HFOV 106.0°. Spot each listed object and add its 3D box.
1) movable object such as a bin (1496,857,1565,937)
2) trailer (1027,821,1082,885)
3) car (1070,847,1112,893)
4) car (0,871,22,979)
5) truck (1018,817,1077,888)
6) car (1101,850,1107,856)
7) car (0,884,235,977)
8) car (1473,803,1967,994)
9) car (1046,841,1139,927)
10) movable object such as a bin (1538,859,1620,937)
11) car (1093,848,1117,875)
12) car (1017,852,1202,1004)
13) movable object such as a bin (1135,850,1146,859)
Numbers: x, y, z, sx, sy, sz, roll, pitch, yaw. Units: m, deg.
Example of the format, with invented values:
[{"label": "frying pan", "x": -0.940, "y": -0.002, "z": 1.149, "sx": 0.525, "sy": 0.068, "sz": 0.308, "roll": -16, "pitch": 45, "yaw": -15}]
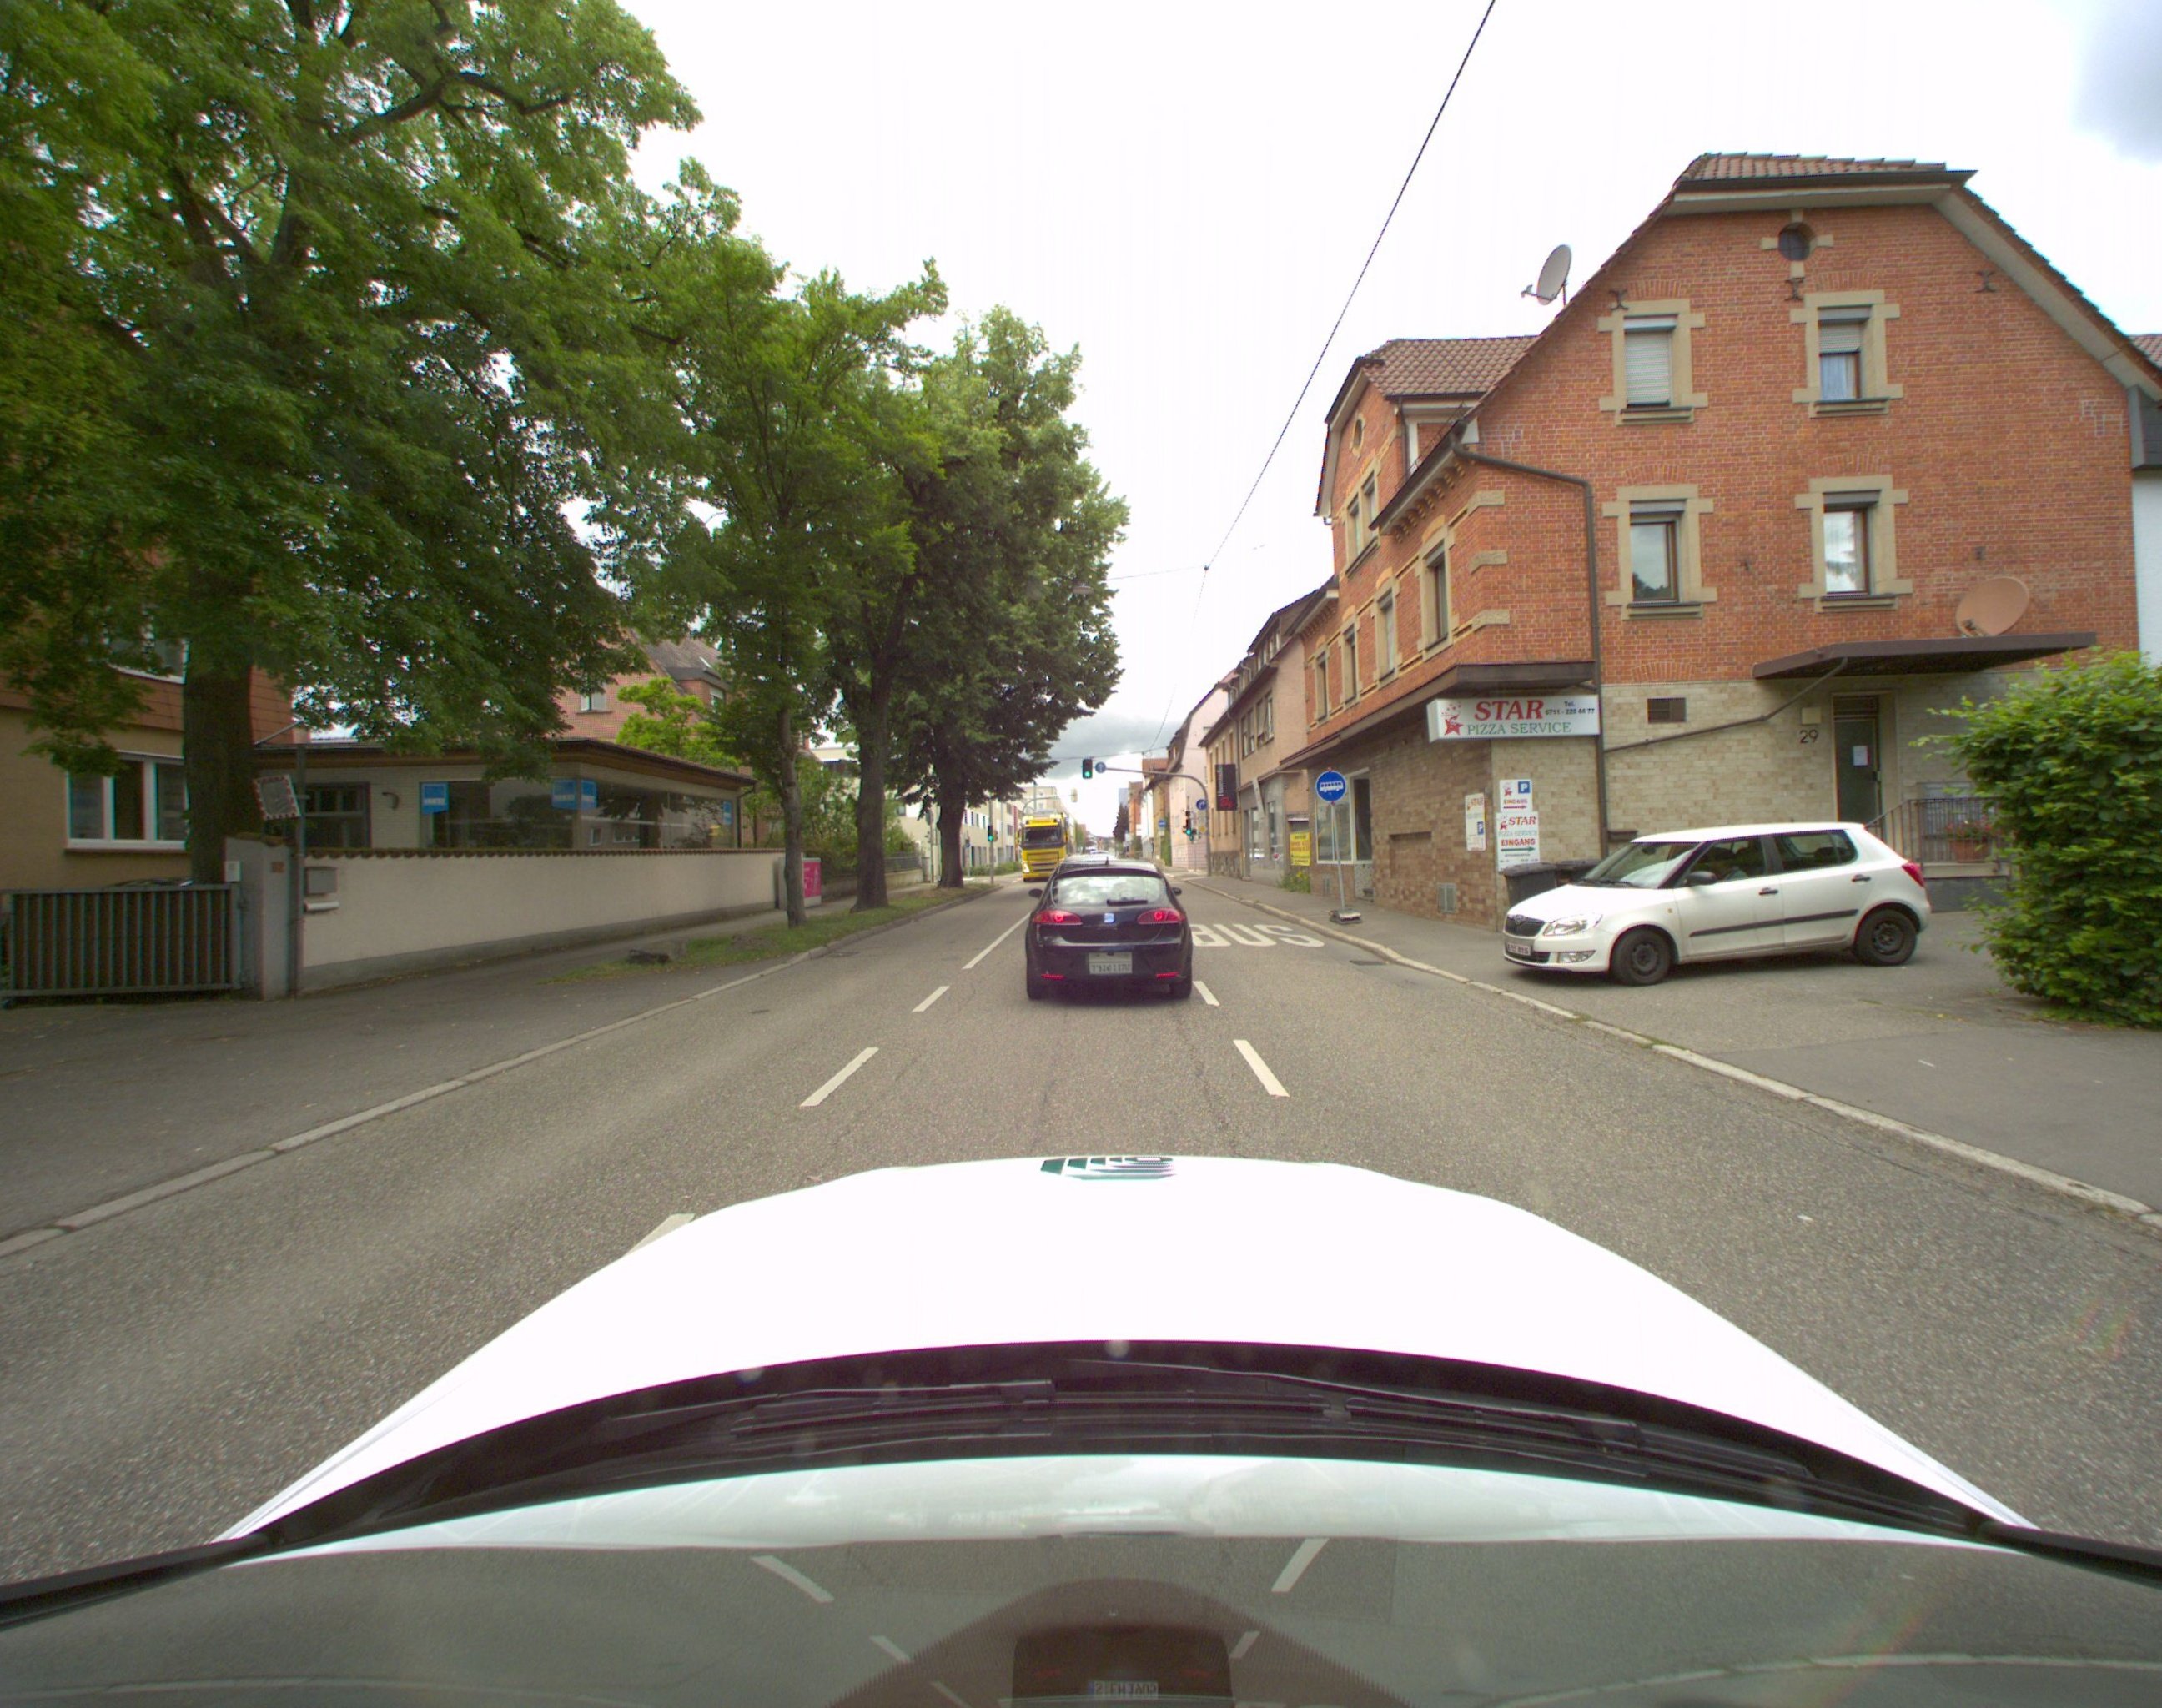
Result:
[{"label": "movable object such as a bin", "x": 6.521, "y": 0.611, "z": 11.843, "sx": 0.604, "sy": 1.100, "sz": 0.623, "roll": -4, "pitch": -1, "yaw": 1}, {"label": "trailer", "x": -1.558, "y": -0.024, "z": 55.779, "sx": 2.847, "sy": 3.808, "sz": 14.395, "roll": -1, "pitch": 0, "yaw": 2}, {"label": "car", "x": 0.393, "y": 0.606, "z": 31.955, "sx": 1.526, "sy": 1.693, "sz": 3.694, "roll": -1, "pitch": 0, "yaw": 1}, {"label": "car", "x": -17.416, "y": 1.092, "z": 10.681, "sx": 1.774, "sy": 1.640, "sz": 4.000, "roll": -1, "pitch": 0, "yaw": 1}, {"label": "truck", "x": -1.831, "y": -0.064, "z": 47.949, "sx": 2.833, "sy": 3.782, "sz": 7.672, "roll": -1, "pitch": 0, "yaw": 2}, {"label": "car", "x": 6.465, "y": -0.367, "z": 230.320, "sx": 1.526, "sy": 1.693, "sz": 3.694, "roll": -2, "pitch": 0, "yaw": 1}, {"label": "car", "x": -17.399, "y": 1.265, "z": 14.386, "sx": 1.336, "sy": 1.330, "sz": 3.398, "roll": -1, "pitch": 0, "yaw": 0}, {"label": "car", "x": 6.665, "y": 0.439, "z": 8.791, "sx": 4.017, "sy": 1.470, "sz": 1.600, "roll": -6, "pitch": -1, "yaw": -1}, {"label": "car", "x": 0.278, "y": 0.610, "z": 18.278, "sx": 1.836, "sy": 1.693, "sz": 4.001, "roll": -1, "pitch": 0, "yaw": 1}, {"label": "movable object such as a bin", "x": 7.244, "y": 0.619, "z": 11.874, "sx": 0.696, "sy": 1.059, "sz": 0.724, "roll": -4, "pitch": -1, "yaw": 1}, {"label": "car", "x": 1.588, "y": 0.515, "z": 53.800, "sx": 1.526, "sy": 1.693, "sz": 3.694, "roll": -1, "pitch": 0, "yaw": 1}, {"label": "car", "x": 0.326, "y": 0.720, "z": 9.809, "sx": 1.752, "sy": 1.442, "sz": 4.001, "roll": -1, "pitch": 0, "yaw": 1}, {"label": "movable object such as a bin", "x": 10.292, "y": 0.075, "z": 141.256, "sx": 1.811, "sy": 1.437, "sz": 1.994, "roll": -1, "pitch": 0, "yaw": 2}]
